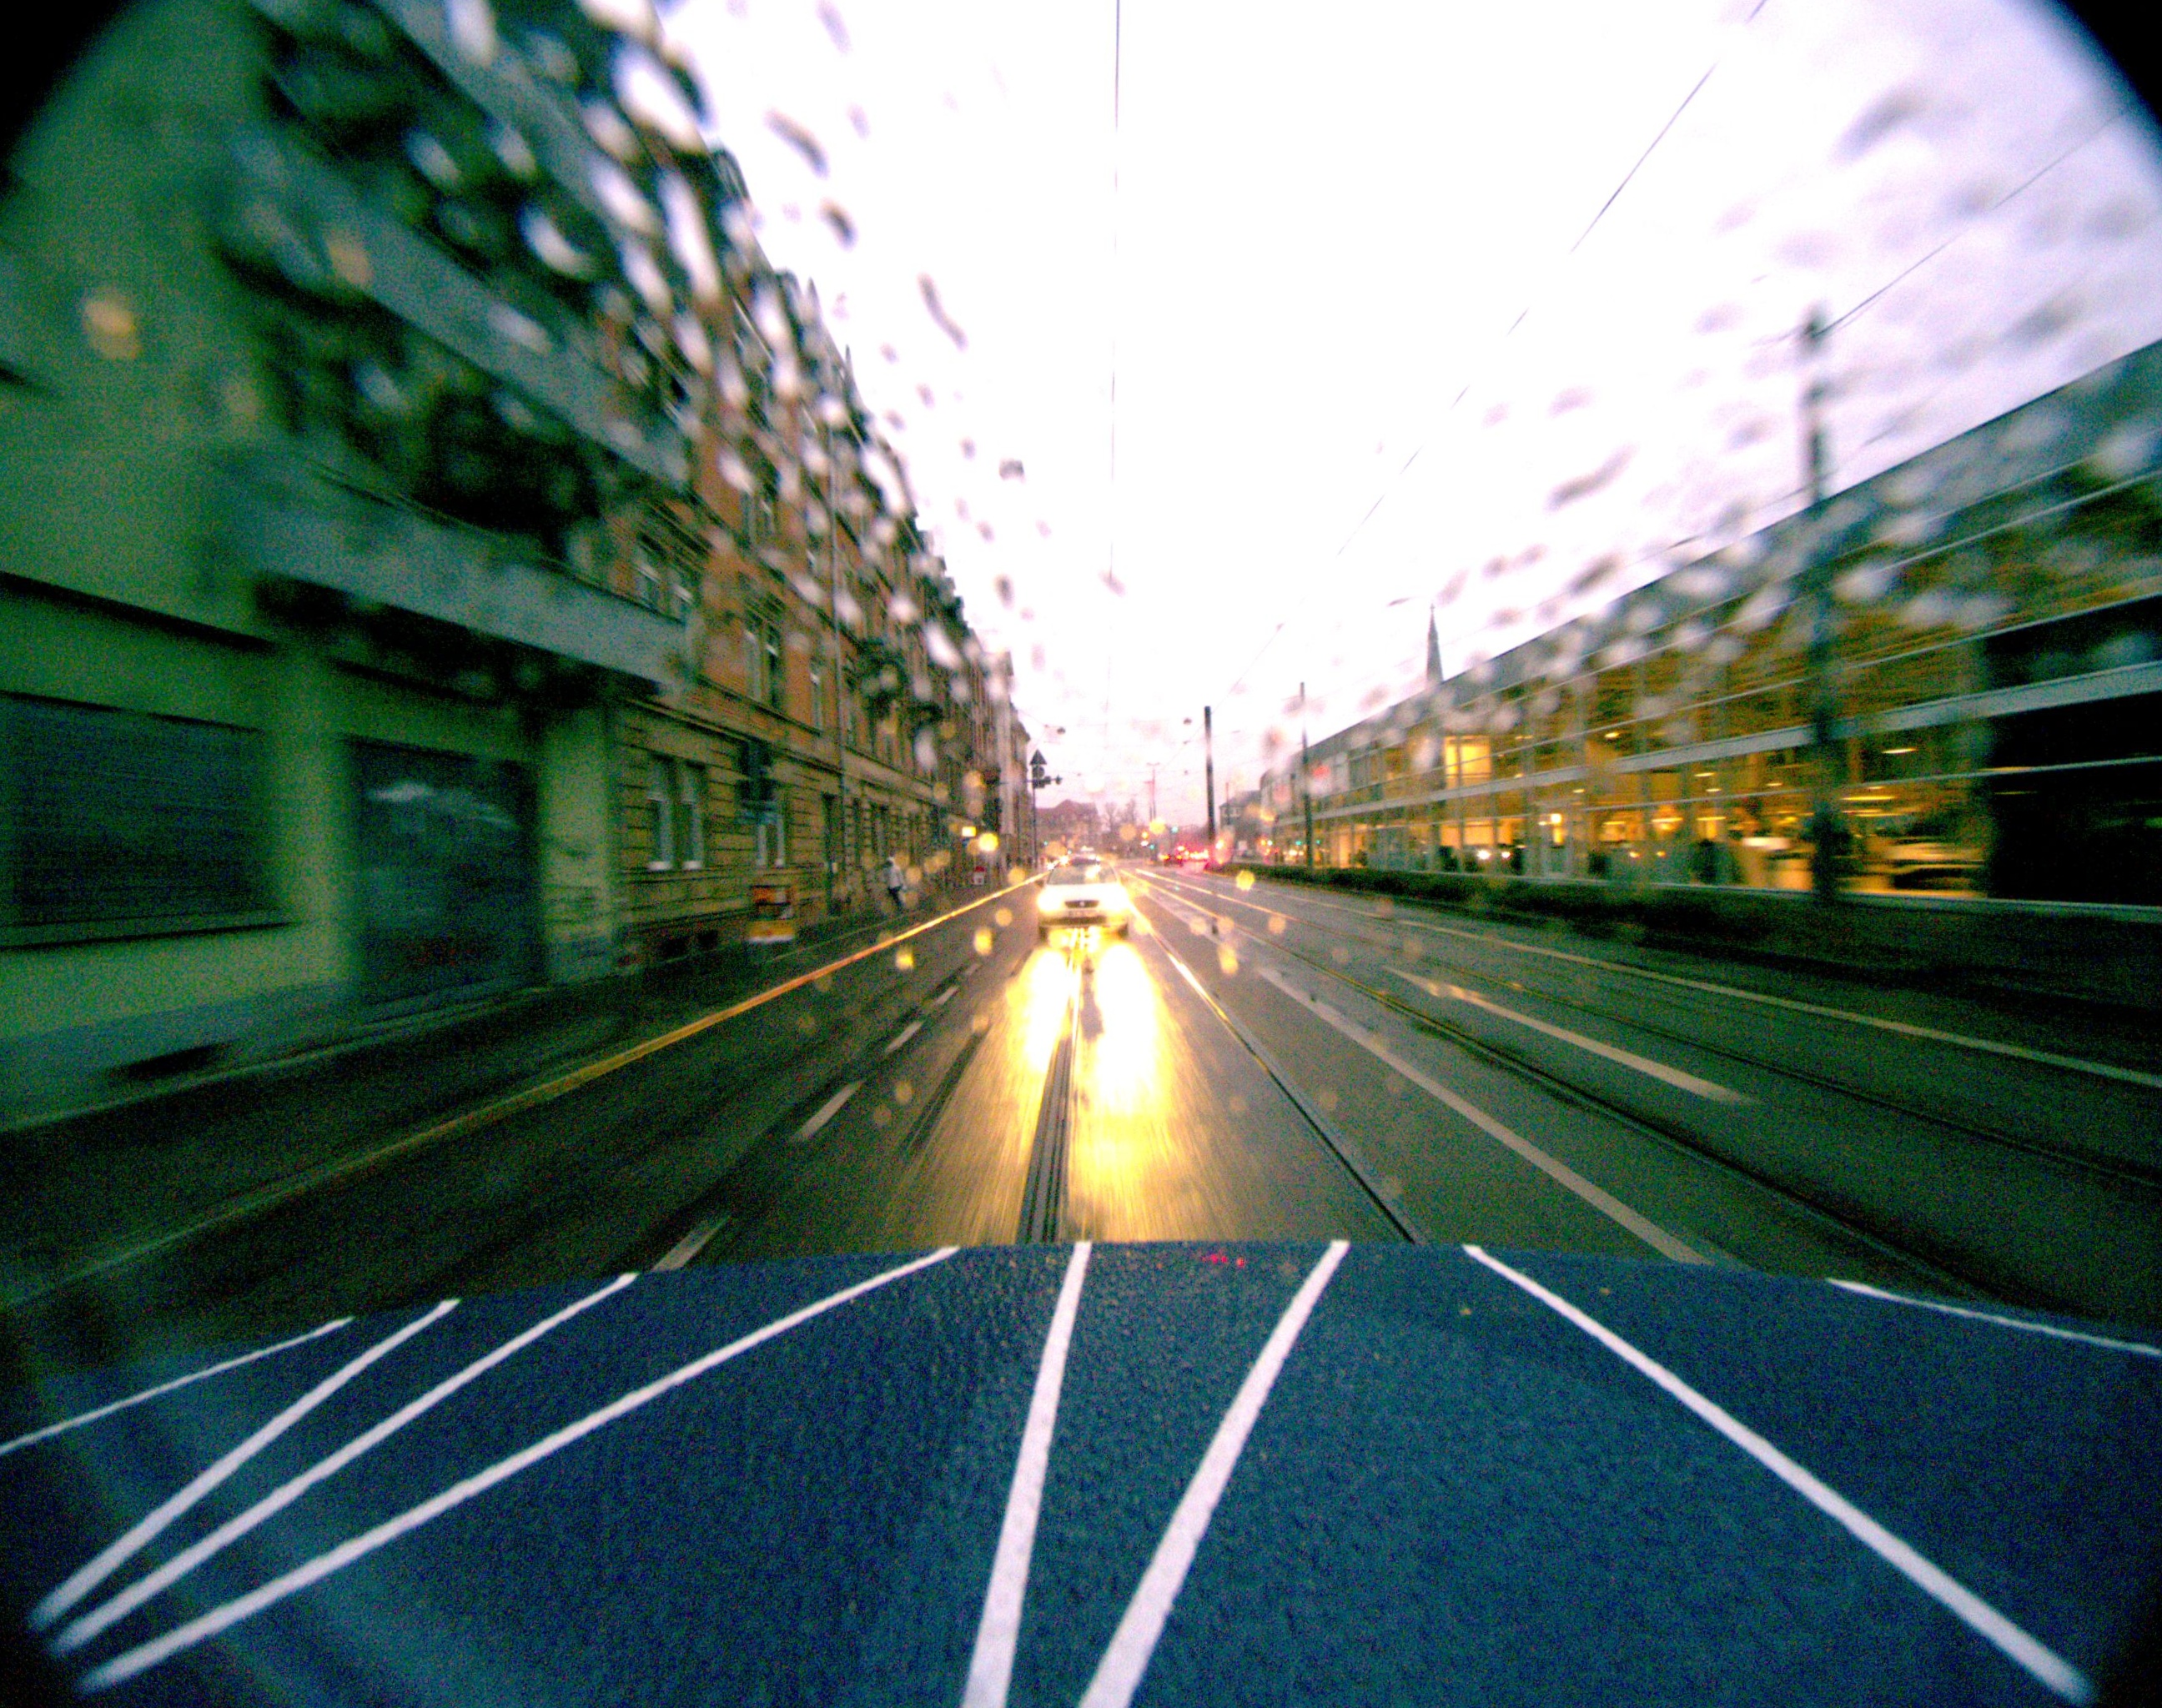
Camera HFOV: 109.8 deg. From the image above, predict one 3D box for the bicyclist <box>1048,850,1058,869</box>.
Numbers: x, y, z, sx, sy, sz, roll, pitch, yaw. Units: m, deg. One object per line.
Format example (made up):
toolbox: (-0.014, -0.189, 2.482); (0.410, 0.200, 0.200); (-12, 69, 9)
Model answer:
bicyclist: (-2.336, 0.474, 63.870); (0.727, 1.525, 0.785); (-2, 1, 0)

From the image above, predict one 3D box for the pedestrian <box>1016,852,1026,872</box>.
pedestrian: (-5.370, 0.673, 67.626); (0.777, 1.734, 0.673); (-1, 1, 1)

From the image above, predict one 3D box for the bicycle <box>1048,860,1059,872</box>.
bicycle: (-2.310, 0.999, 63.910); (0.725, 0.985, 2.212); (-2, 1, 0)

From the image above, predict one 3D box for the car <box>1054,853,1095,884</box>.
car: (-0.272, 0.691, 38.740); (1.797, 1.415, 4.000); (-2, 0, 3)

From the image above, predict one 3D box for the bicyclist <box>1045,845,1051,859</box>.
bicyclist: (-4.548, -0.250, 105.754); (0.747, 1.869, 1.111); (-2, 1, -1)

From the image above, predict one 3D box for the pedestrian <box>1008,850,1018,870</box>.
pedestrian: (-5.848, 0.507, 65.603); (0.777, 1.734, 0.673); (-1, 1, 1)

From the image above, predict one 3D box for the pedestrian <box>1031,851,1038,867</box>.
pedestrian: (-4.849, 0.515, 78.707); (0.633, 1.539, 0.710); (-2, 1, -5)

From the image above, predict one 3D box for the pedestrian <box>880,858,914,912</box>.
pedestrian: (-5.596, 0.929, 23.146); (0.788, 1.588, 0.742); (-2, 1, 4)

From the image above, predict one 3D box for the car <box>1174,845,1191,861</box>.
car: (14.376, -0.151, 107.569); (1.998, 2.002, 4.685); (-2, 1, 4)

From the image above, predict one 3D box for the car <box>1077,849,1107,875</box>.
car: (0.725, 0.475, 49.444); (1.824, 1.565, 4.000); (-2, 1, 0)

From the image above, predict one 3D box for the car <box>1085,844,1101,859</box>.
car: (1.533, -0.386, 100.304); (2.018, 1.809, 3.688); (-3, 1, 1)

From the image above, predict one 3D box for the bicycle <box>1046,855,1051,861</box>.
bicycle: (-4.528, 0.544, 105.723); (0.609, 0.757, 1.860); (-2, 1, -1)

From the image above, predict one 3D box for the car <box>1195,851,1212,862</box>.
car: (17.878, 0.362, 111.196); (1.998, 1.413, 4.588); (-2, 0, 4)

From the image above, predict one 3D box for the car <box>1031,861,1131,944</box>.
car: (0.082, 0.917, 16.039); (1.797, 1.415, 4.000); (-2, 0, 3)

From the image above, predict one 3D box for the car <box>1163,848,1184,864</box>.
car: (9.783, 0.179, 80.689); (1.845, 1.569, 4.442); (-2, 0, 2)

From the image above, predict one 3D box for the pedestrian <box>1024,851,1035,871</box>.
pedestrian: (-4.494, 0.633, 66.331); (0.777, 1.734, 0.673); (-1, 1, 1)
